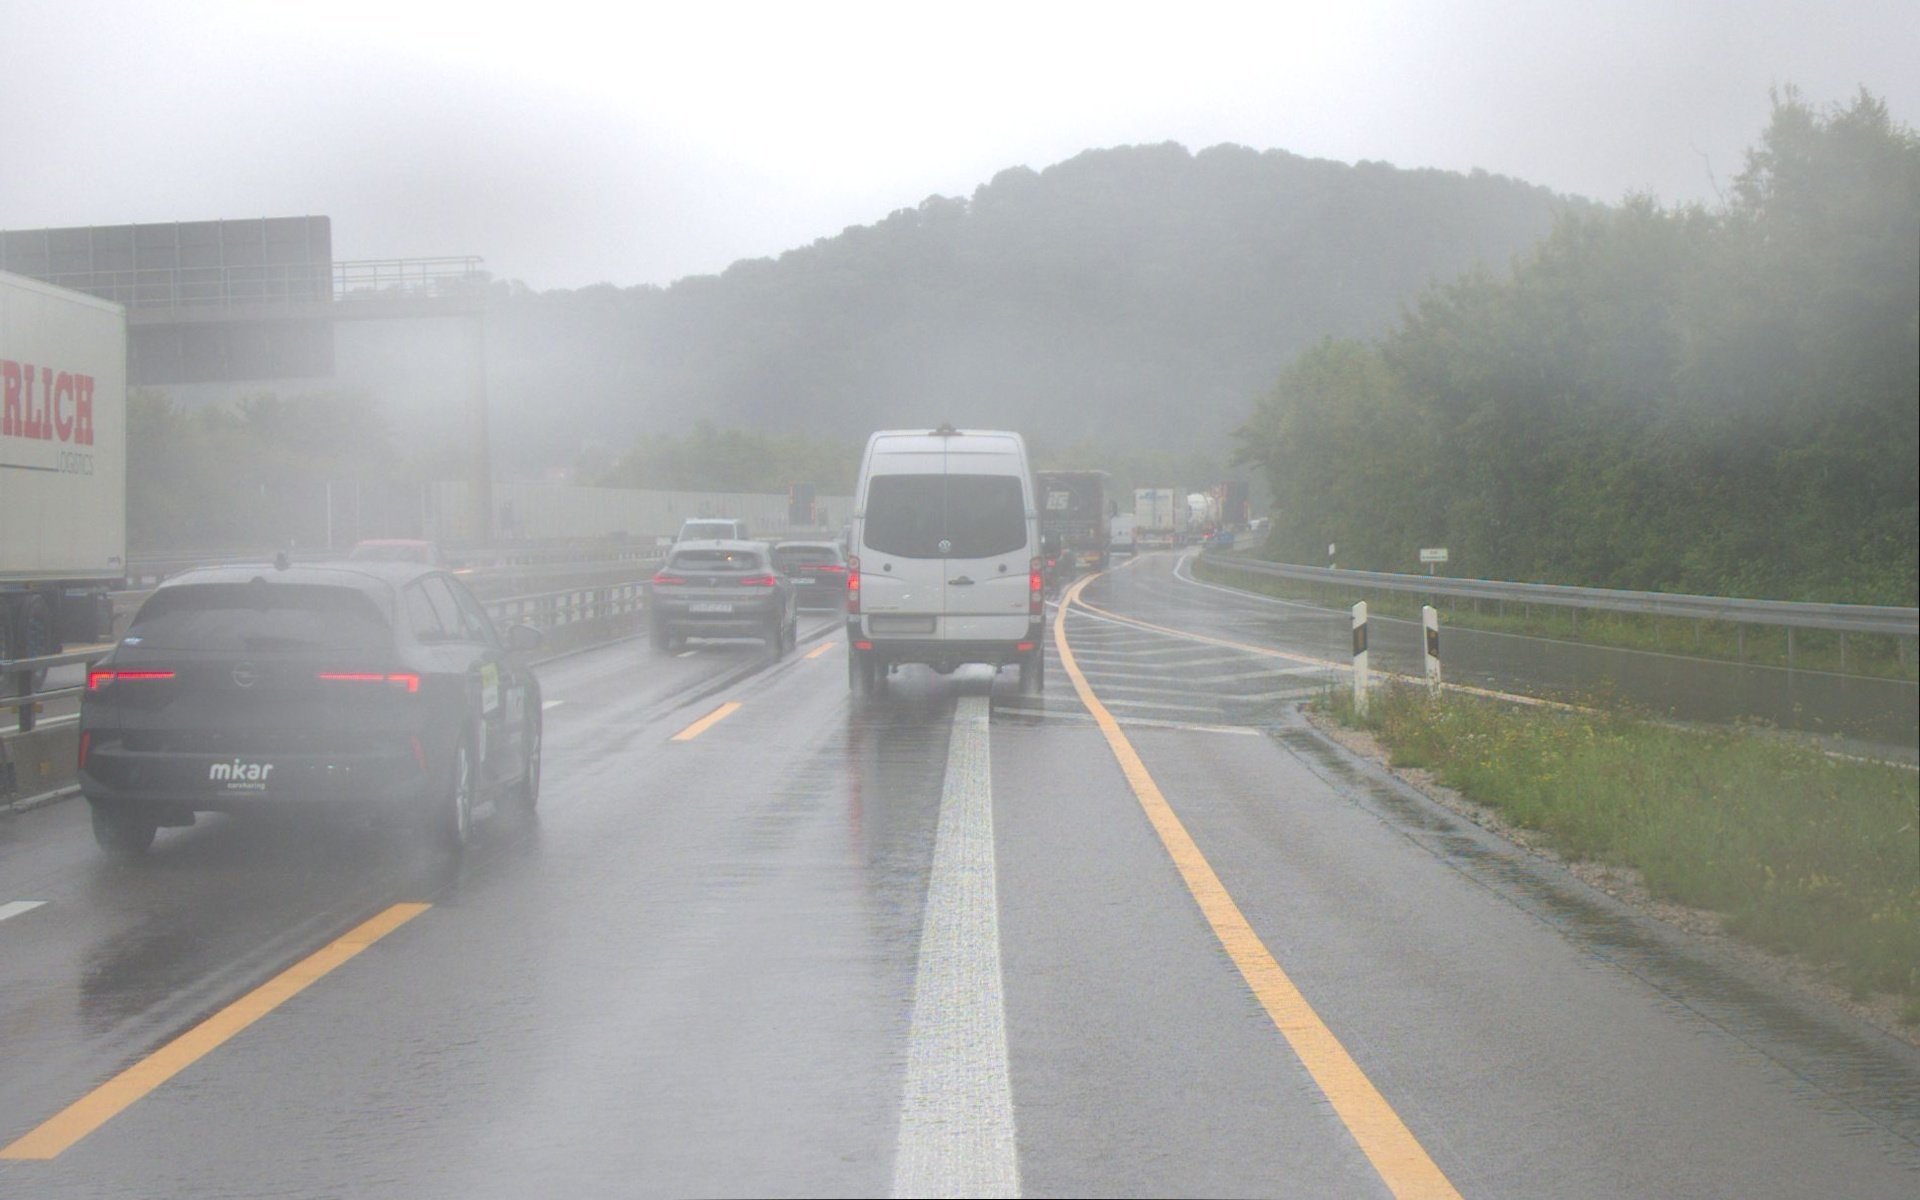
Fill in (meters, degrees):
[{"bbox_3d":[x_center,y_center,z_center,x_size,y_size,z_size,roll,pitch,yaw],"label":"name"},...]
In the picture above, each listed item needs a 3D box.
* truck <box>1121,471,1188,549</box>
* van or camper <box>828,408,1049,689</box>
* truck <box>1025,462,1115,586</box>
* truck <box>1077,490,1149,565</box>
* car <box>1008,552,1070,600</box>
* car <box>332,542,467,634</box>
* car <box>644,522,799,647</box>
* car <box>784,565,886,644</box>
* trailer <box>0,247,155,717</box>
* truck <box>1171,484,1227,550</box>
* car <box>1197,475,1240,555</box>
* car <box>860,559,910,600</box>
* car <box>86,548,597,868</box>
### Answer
[{"bbox_3d":[12.558,-5.737,221.207,3.929,4.768,9.905,1,0,5],"label":"truck"},{"bbox_3d":[-0.209,-0.531,35.628,2.139,2.712,4.648,0,1,0],"label":"van or camper"},{"bbox_3d":[4.412,-3.026,140.202,3.320,4.768,9.907,1,0,0],"label":"truck"},{"bbox_3d":[8.044,-3.790,181.952,3.320,3.749,9.907,1,0,0],"label":"truck"},{"bbox_3d":[2.115,-0.656,92.673,1.384,1.252,3.123,0,1,-4],"label":"car"},{"bbox_3d":[-9.610,-0.218,59.212,1.608,1.499,4.217,1,0,0],"label":"car"},{"bbox_3d":[-3.273,-0.234,47.797,1.867,1.653,3.988,0,1,0],"label":"car"},{"bbox_3d":[-2.431,0.067,67.418,1.852,1.495,4.000,0,1,0],"label":"car"},{"bbox_3d":[-10.169,-1.059,30.647,2.893,4.271,12.895,0,0,0],"label":"trailer"},{"bbox_3d":[18.083,-6.210,259.503,3.929,4.768,9.905,1,0,5],"label":"truck"},{"bbox_3d":[13.710,-4.492,182.742,2.058,4.177,6.745,0,1,3],"label":"car"},{"bbox_3d":[-1.989,-0.557,91.690,1.262,1.074,3.254,0,1,0],"label":"car"},{"bbox_3d":[-3.044,0.461,17.905,1.938,1.422,4.760,1,1,-2],"label":"car"}]
